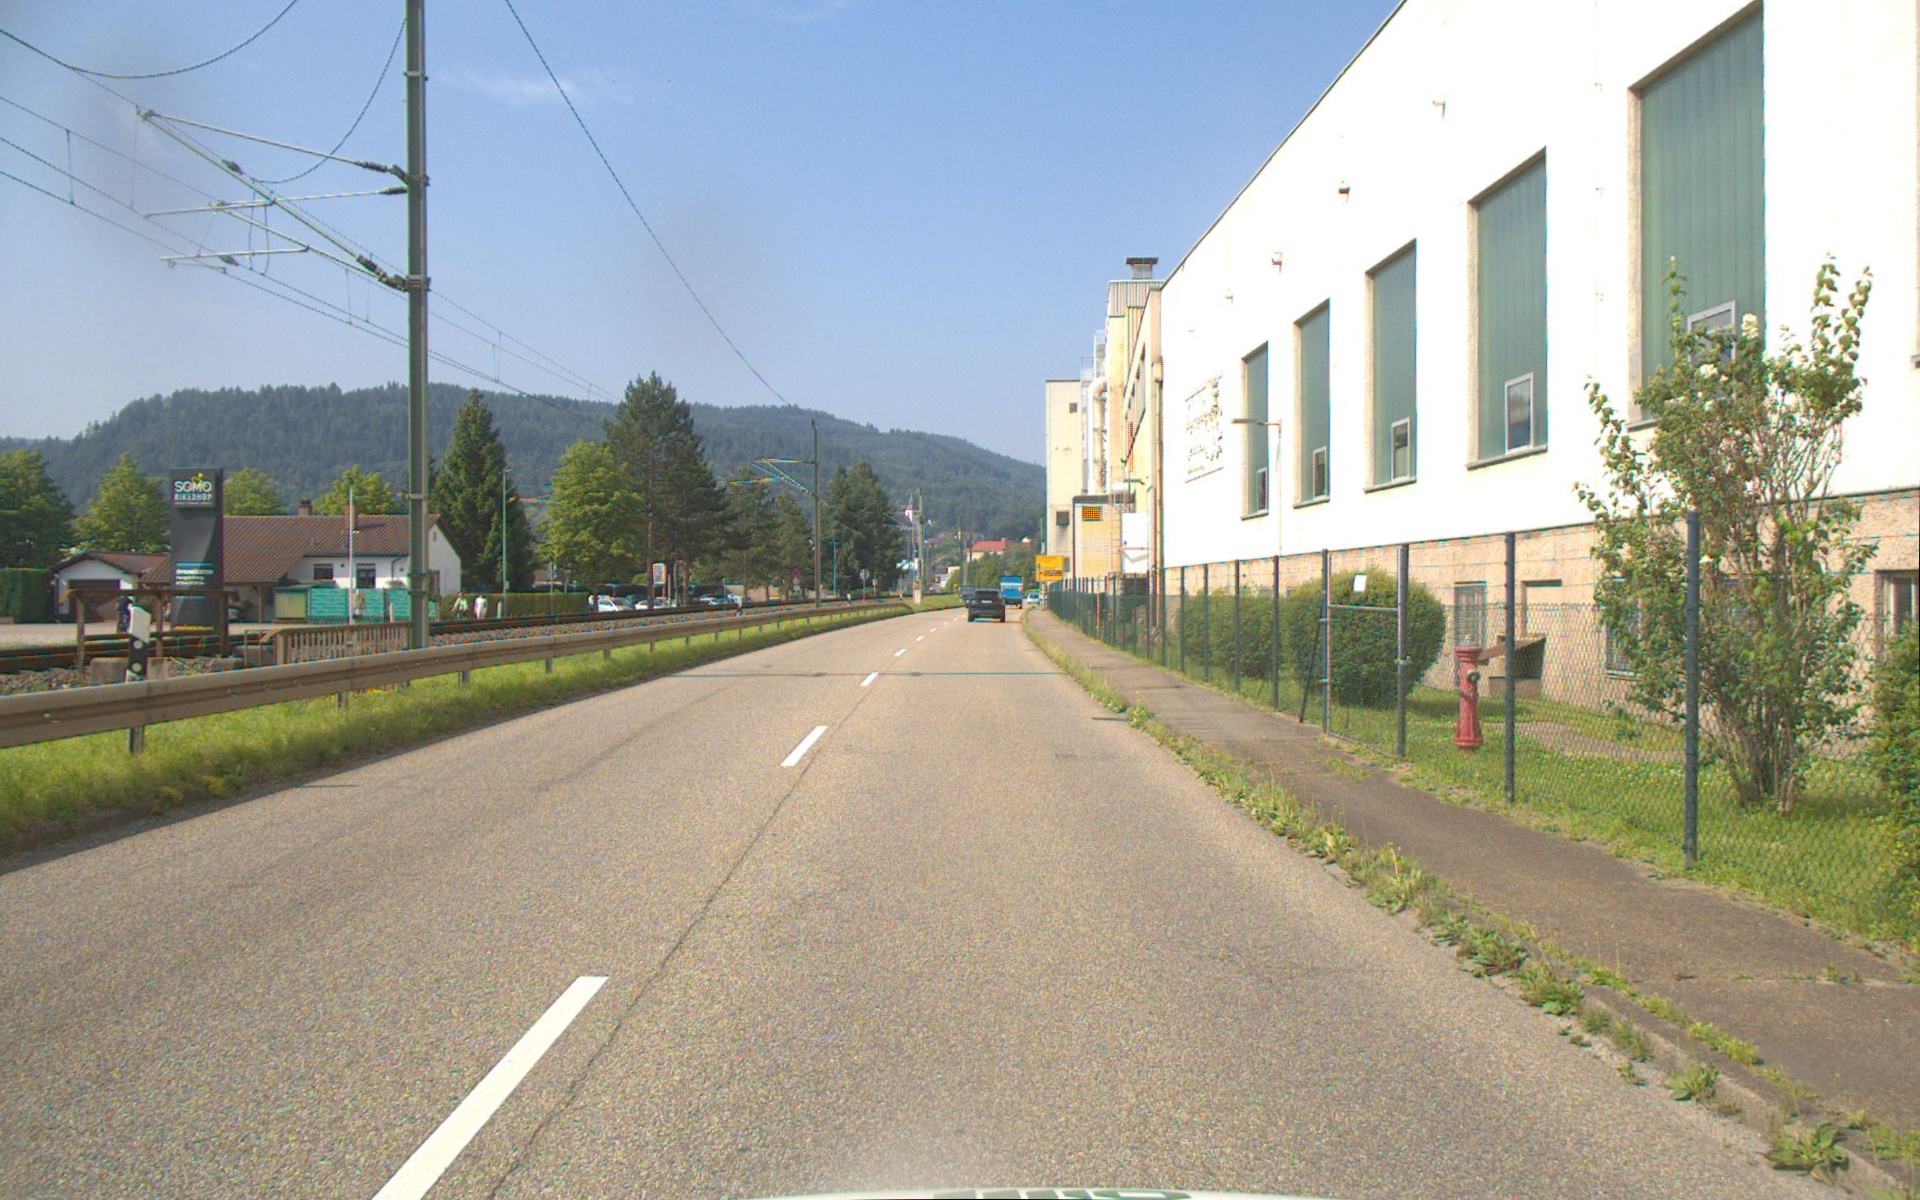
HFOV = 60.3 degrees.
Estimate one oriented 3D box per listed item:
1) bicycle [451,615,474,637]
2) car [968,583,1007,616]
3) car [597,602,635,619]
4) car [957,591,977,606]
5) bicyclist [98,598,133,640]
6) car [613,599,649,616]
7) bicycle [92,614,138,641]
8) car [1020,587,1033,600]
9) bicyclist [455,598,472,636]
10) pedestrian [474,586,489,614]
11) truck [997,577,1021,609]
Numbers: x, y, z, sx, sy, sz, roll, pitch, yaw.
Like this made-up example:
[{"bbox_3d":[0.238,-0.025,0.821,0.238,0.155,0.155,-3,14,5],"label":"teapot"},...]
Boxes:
[{"bbox_3d":[-22.170,1.154,73.698,0.534,0.939,1.709,-1,0,-2],"label":"bicycle"},{"bbox_3d":[1.419,-0.028,83.606,1.879,1.668,4.001,0,0,2],"label":"car"},{"bbox_3d":[-30.136,0.924,144.702,1.672,1.469,3.796,-1,0,-40],"label":"car"},{"bbox_3d":[0.669,-0.113,157.722,1.727,1.427,4.122,0,0,4],"label":"car"},{"bbox_3d":[-33.439,0.746,65.528,0.730,1.648,1.146,-1,0,3],"label":"bicyclist"},{"bbox_3d":[-31.099,0.705,156.235,1.672,1.533,3.796,-1,0,-40],"label":"car"},{"bbox_3d":[-33.446,1.079,65.514,0.739,1.035,1.963,-1,0,3],"label":"bicycle"},{"bbox_3d":[9.080,-0.886,224.371,1.632,1.854,3.753,0,0,4],"label":"car"},{"bbox_3d":[-22.177,0.756,73.826,0.522,1.675,0.831,-1,0,-2],"label":"bicyclist"},{"bbox_3d":[-23.634,-0.004,81.648,0.562,1.355,0.673,-1,0,-6],"label":"pedestrian"},{"bbox_3d":[4.690,-0.720,159.125,2.264,3.022,5.967,0,0,1],"label":"truck"}]
